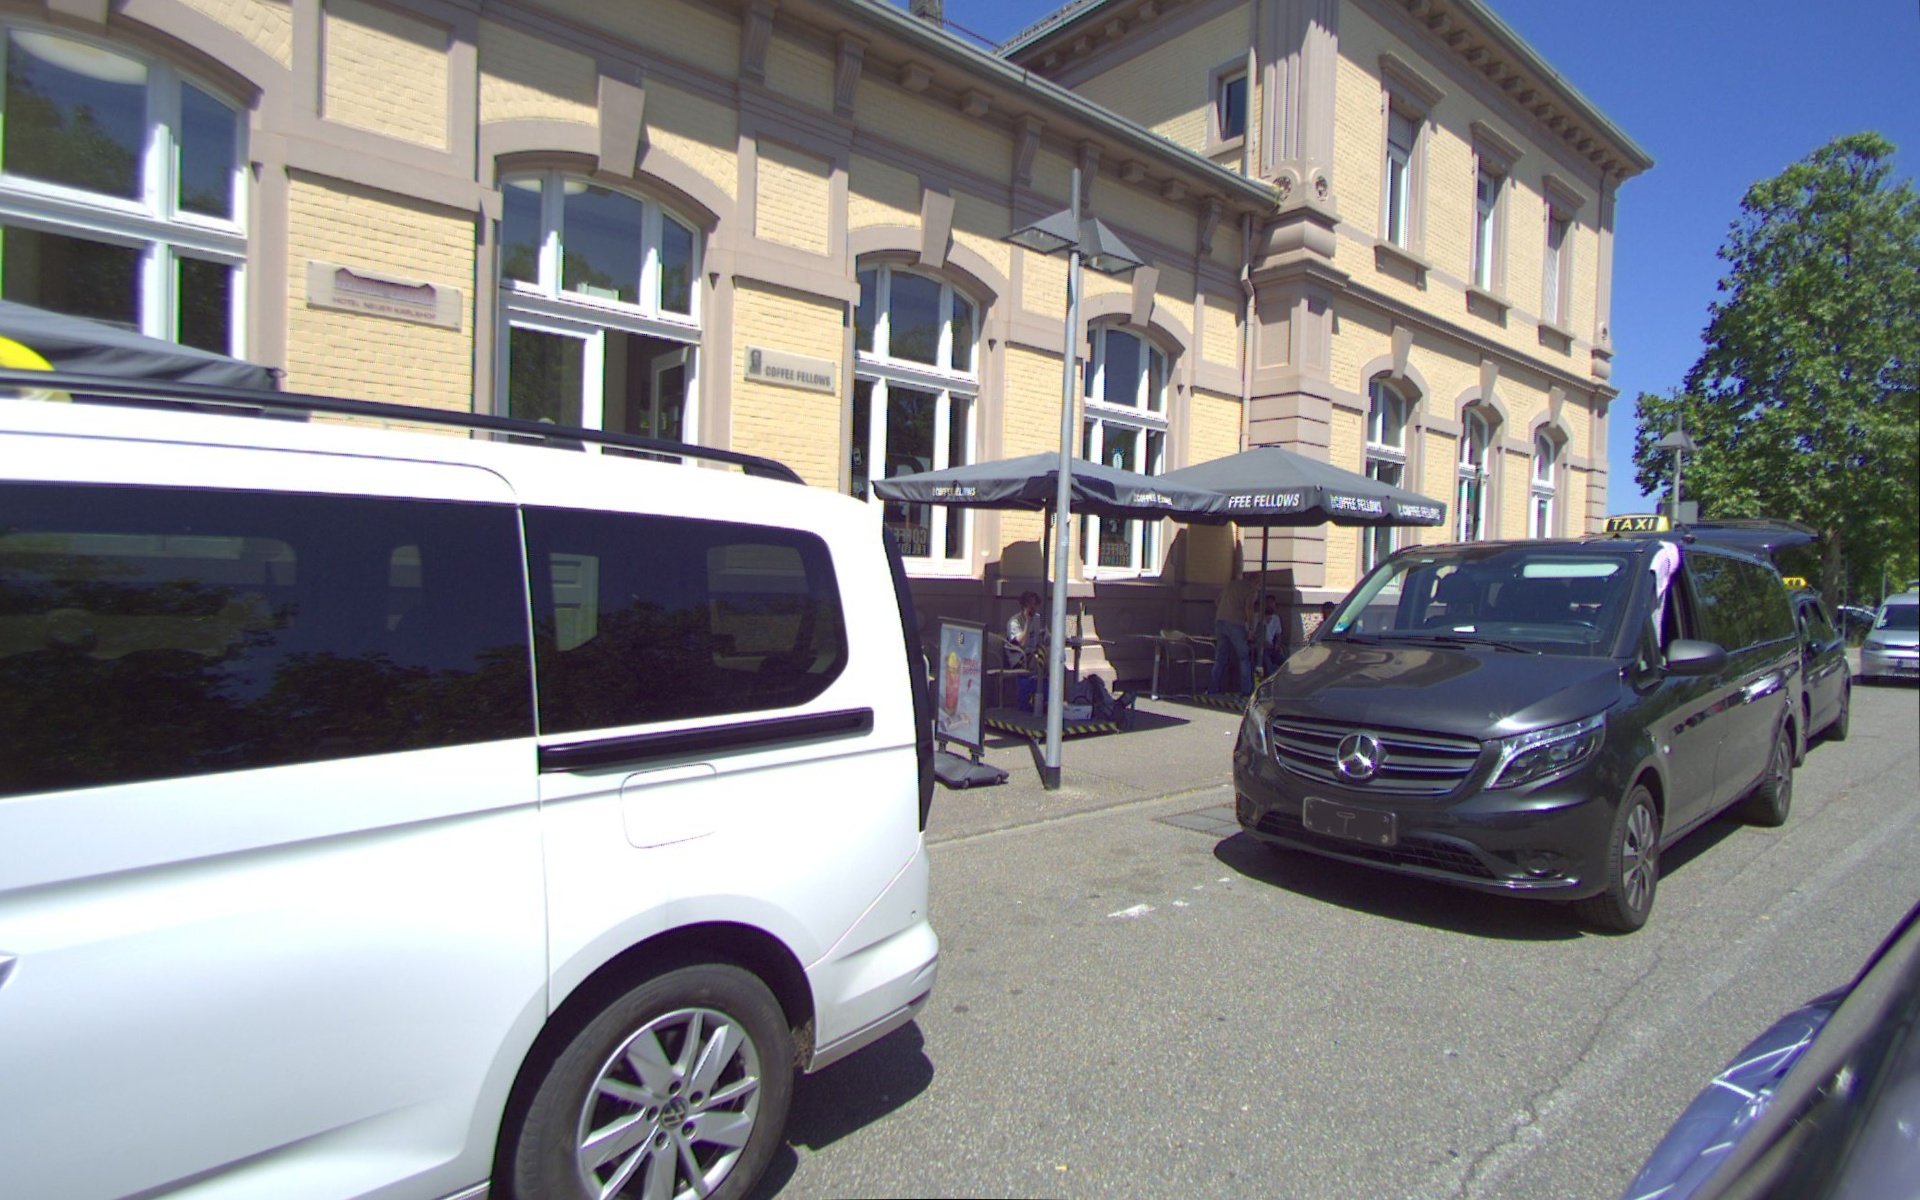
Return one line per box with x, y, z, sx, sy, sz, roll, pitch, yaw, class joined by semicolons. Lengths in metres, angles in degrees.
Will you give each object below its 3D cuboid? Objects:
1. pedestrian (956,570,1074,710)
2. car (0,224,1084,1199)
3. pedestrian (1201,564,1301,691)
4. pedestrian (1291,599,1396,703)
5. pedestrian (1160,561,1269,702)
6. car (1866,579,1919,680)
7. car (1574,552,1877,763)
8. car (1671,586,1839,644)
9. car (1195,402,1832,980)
0.593;0.403;10.933;0.837;1.388;0.880;1;3;-44;pedestrian
-2.122;0.389;1.960;5.050;1.889;1.812;1;0;-42;car
3.825;0.338;13.296;0.837;1.562;0.880;1;3;-44;pedestrian
4.772;0.607;12.610;0.866;1.178;0.851;1;3;-40;pedestrian
3.031;0.345;12.068;0.837;1.562;0.880;1;3;-44;pedestrian
19.713;0.553;20.324;1.999;1.863;5.232;1;0;45;car
8.740;0.511;11.359;2.075;1.863;4.761;2;0;45;car
31.550;0.547;40.289;2.016;2.147;4.957;0;0;-41;car
3.992;0.352;6.551;2.088;2.151;5.731;2;0;45;car
